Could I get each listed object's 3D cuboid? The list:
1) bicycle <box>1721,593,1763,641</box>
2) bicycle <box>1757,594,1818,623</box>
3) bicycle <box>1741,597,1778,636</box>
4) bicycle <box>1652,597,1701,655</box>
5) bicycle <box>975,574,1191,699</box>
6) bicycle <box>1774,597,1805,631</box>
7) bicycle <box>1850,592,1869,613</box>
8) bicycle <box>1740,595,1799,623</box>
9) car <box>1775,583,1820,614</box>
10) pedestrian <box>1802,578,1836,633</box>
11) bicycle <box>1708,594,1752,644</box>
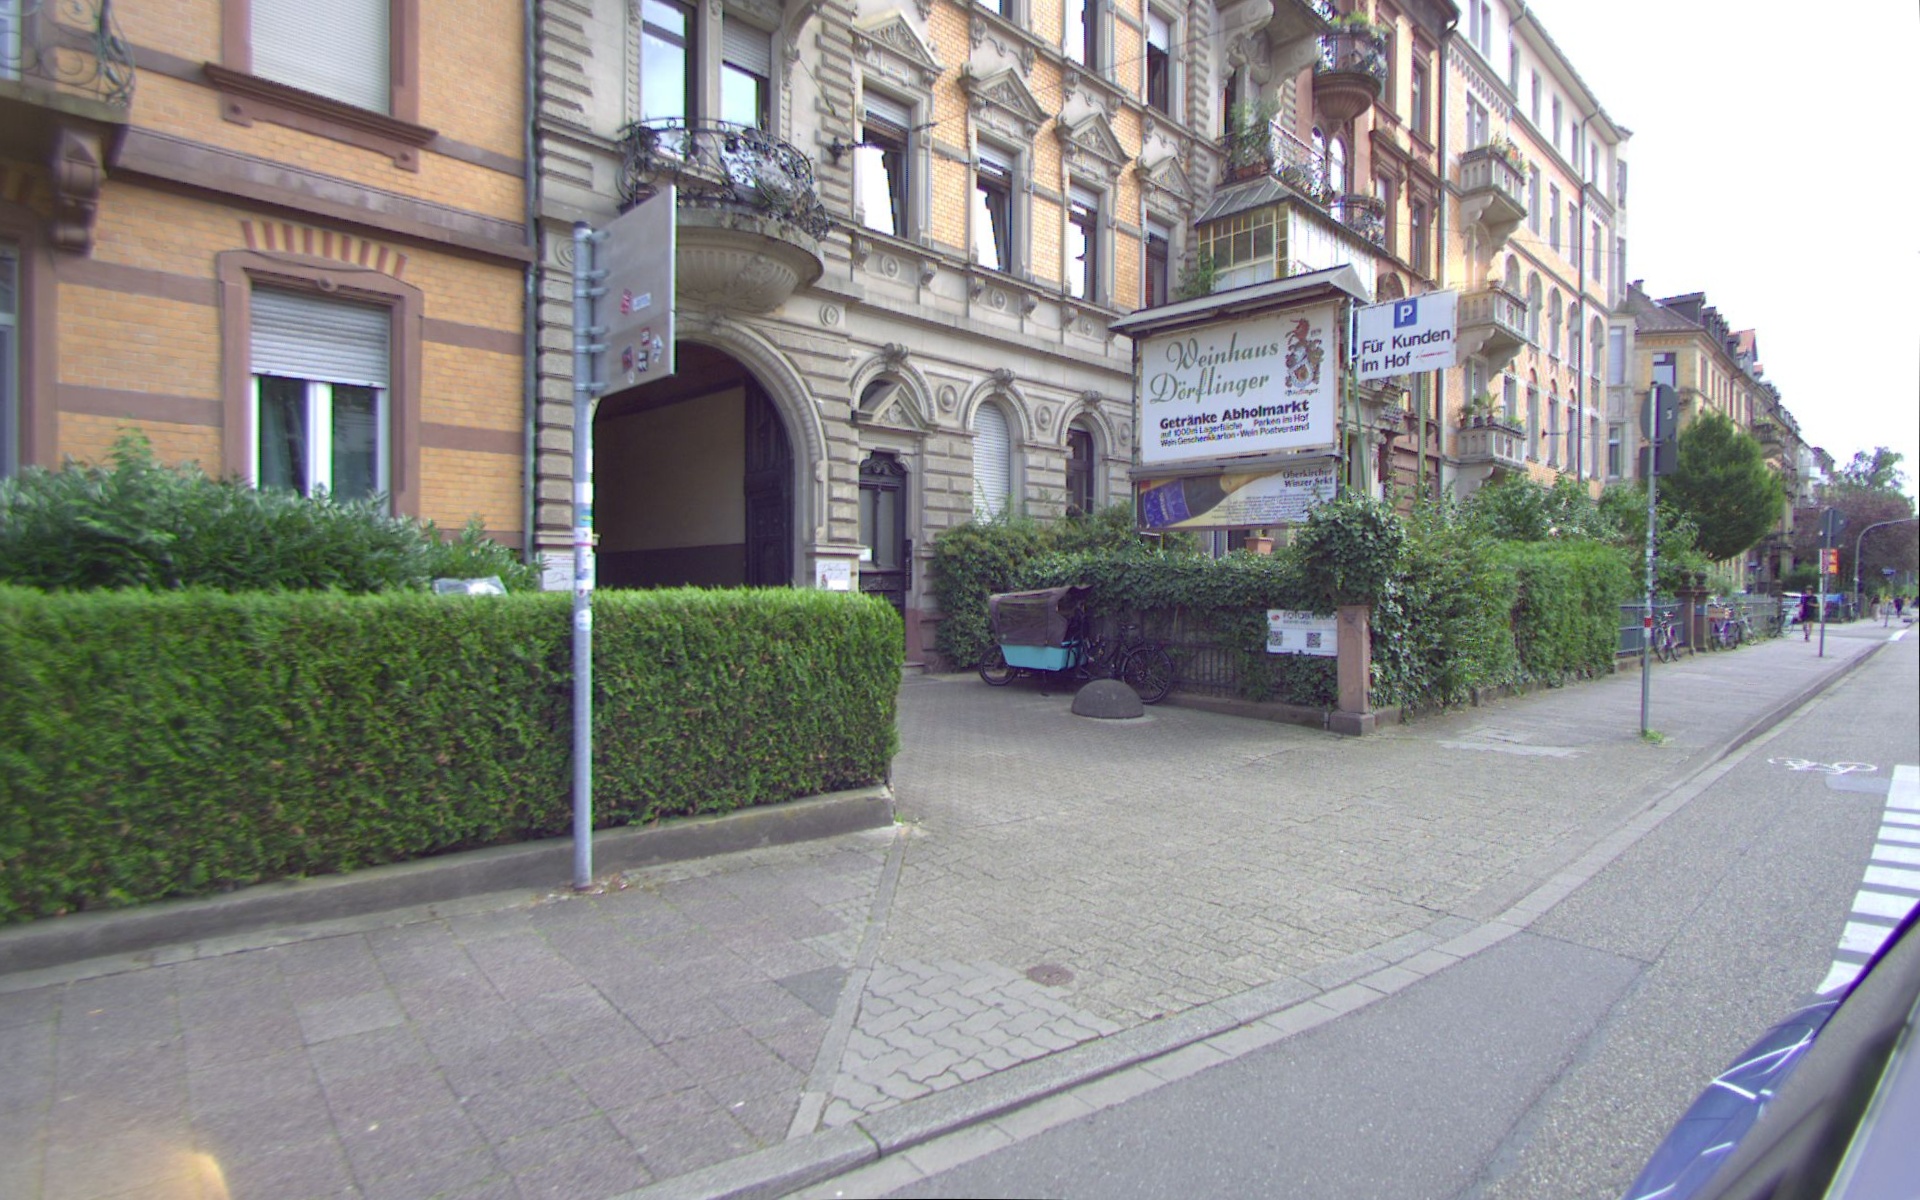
[{"bbox_3d":[19.845,0.405,25.674,0.579,1.125,1.645,6,4,44],"label":"bicycle"},{"bbox_3d":[32.382,0.324,39.615,1.838,1.127,0.631,0,0,-1],"label":"bicycle"},{"bbox_3d":[22.327,0.448,28.252,0.579,0.994,1.645,6,4,44],"label":"bicycle"},{"bbox_3d":[14.648,0.508,20.674,0.579,1.126,1.645,1,1,44],"label":"bicycle"},{"bbox_3d":[1.391,0.369,11.990,2.623,1.328,0.758,1,1,44],"label":"bicycle"},{"bbox_3d":[26.473,0.444,32.299,0.579,0.994,1.645,6,4,44],"label":"bicycle"},{"bbox_3d":[49.163,0.132,55.324,1.843,1.127,0.629,-1,1,-44],"label":"bicycle"},{"bbox_3d":[34.003,0.366,42.536,0.522,1.142,1.896,0,1,-27],"label":"bicycle"},{"bbox_3d":[43.602,-0.127,52.736,1.749,1.544,3.943,1,1,40],"label":"car"},{"bbox_3d":[26.246,0.159,30.916,0.822,1.644,0.731,0,1,-45],"label":"pedestrian"},{"bbox_3d":[18.483,0.433,24.290,0.579,1.125,1.645,6,4,44],"label":"bicycle"}]
